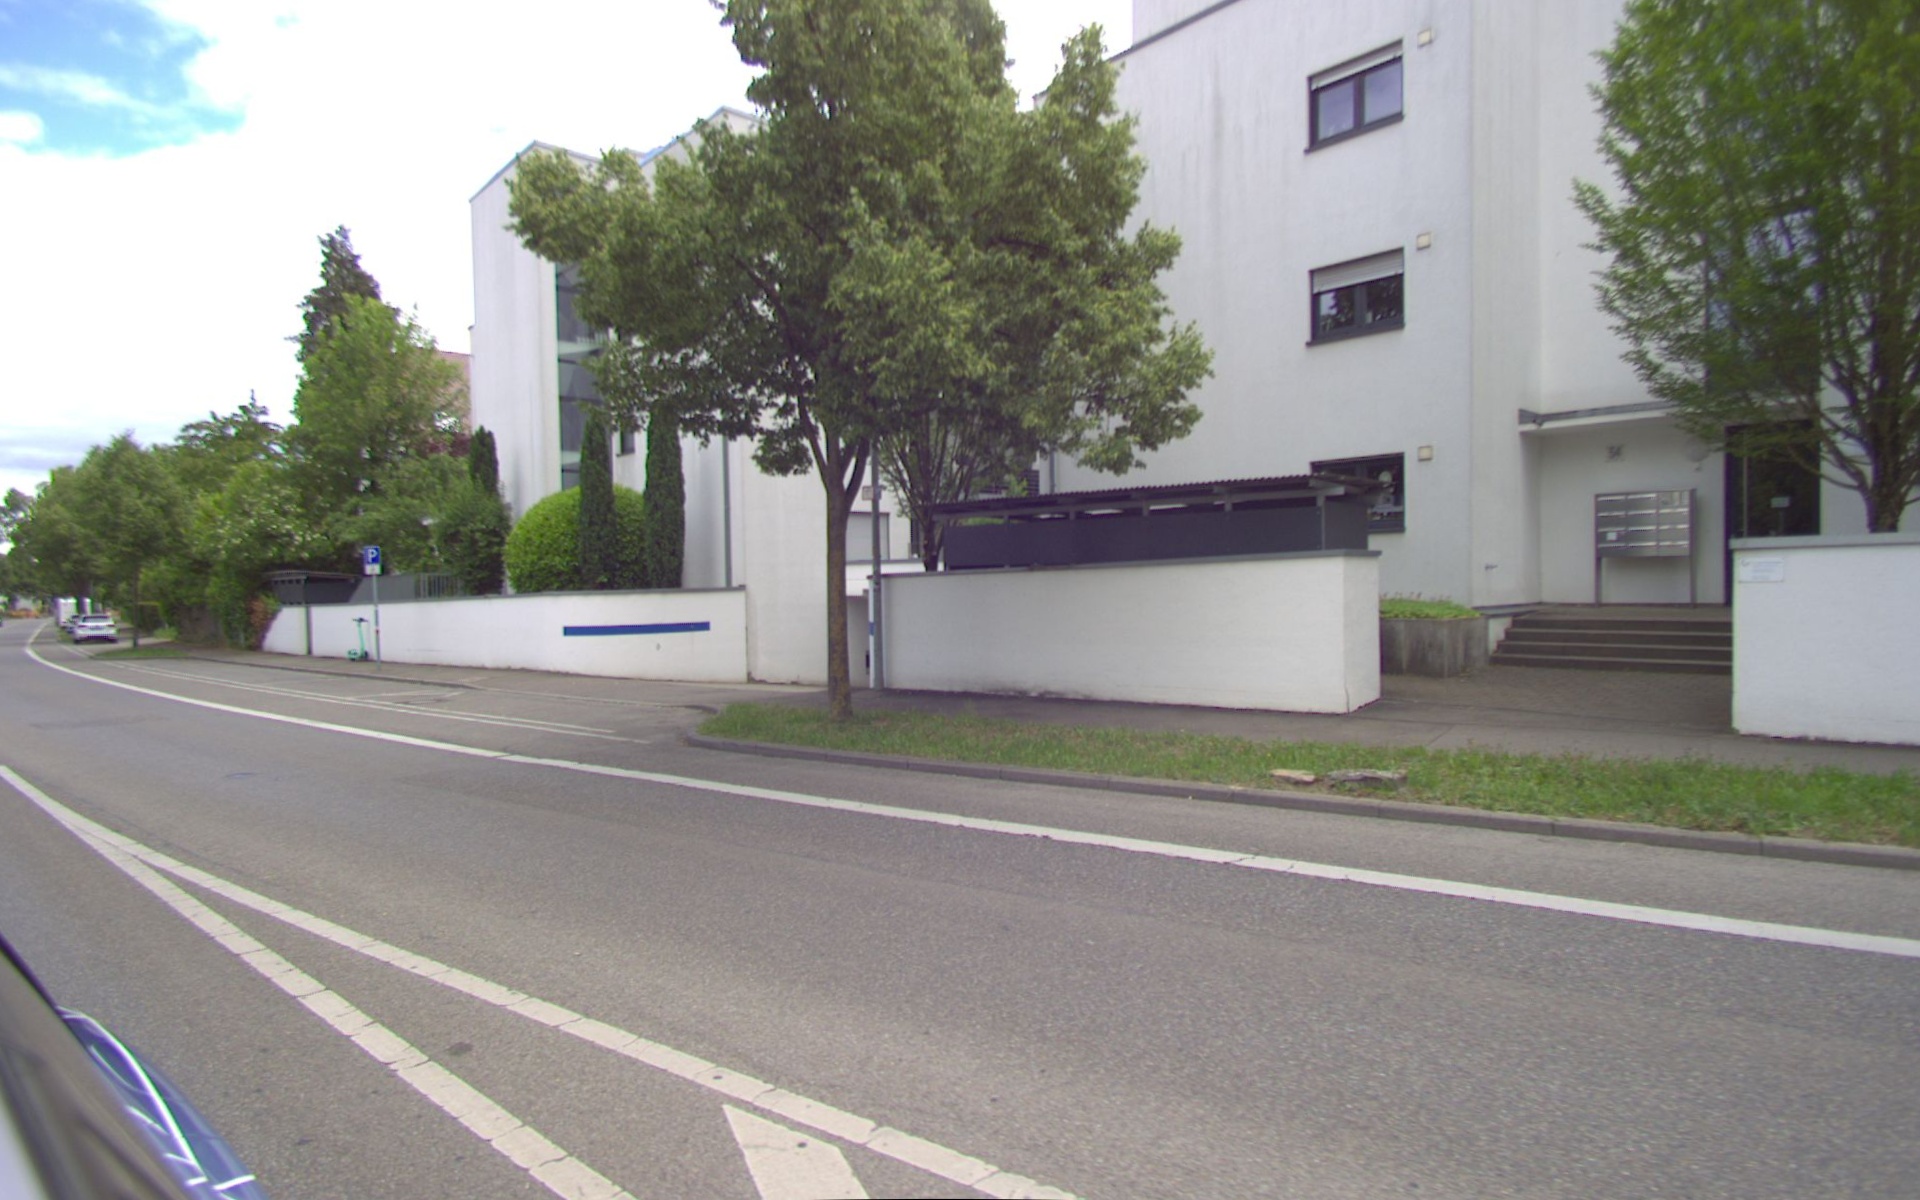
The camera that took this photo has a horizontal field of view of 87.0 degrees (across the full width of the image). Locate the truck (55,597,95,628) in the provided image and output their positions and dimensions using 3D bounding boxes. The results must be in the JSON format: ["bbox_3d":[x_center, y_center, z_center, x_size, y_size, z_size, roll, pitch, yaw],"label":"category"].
[{"bbox_3d":[-84.295,1.200,96.376,2.604,2.794,6.263,-2,1,-43],"label":"truck"}]

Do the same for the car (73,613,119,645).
[{"bbox_3d":[-48.450,1.620,56.735,1.889,1.665,4.005,-1,0,-41],"label":"car"}]

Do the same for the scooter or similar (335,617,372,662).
[{"bbox_3d":[-16.740,1.081,27.915,1.327,1.174,0.429,-1,3,42],"label":"scooter or similar"}]

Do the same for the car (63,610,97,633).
[{"bbox_3d":[-66.878,1.635,76.903,1.862,1.628,4.005,-1,0,-41],"label":"car"}]
